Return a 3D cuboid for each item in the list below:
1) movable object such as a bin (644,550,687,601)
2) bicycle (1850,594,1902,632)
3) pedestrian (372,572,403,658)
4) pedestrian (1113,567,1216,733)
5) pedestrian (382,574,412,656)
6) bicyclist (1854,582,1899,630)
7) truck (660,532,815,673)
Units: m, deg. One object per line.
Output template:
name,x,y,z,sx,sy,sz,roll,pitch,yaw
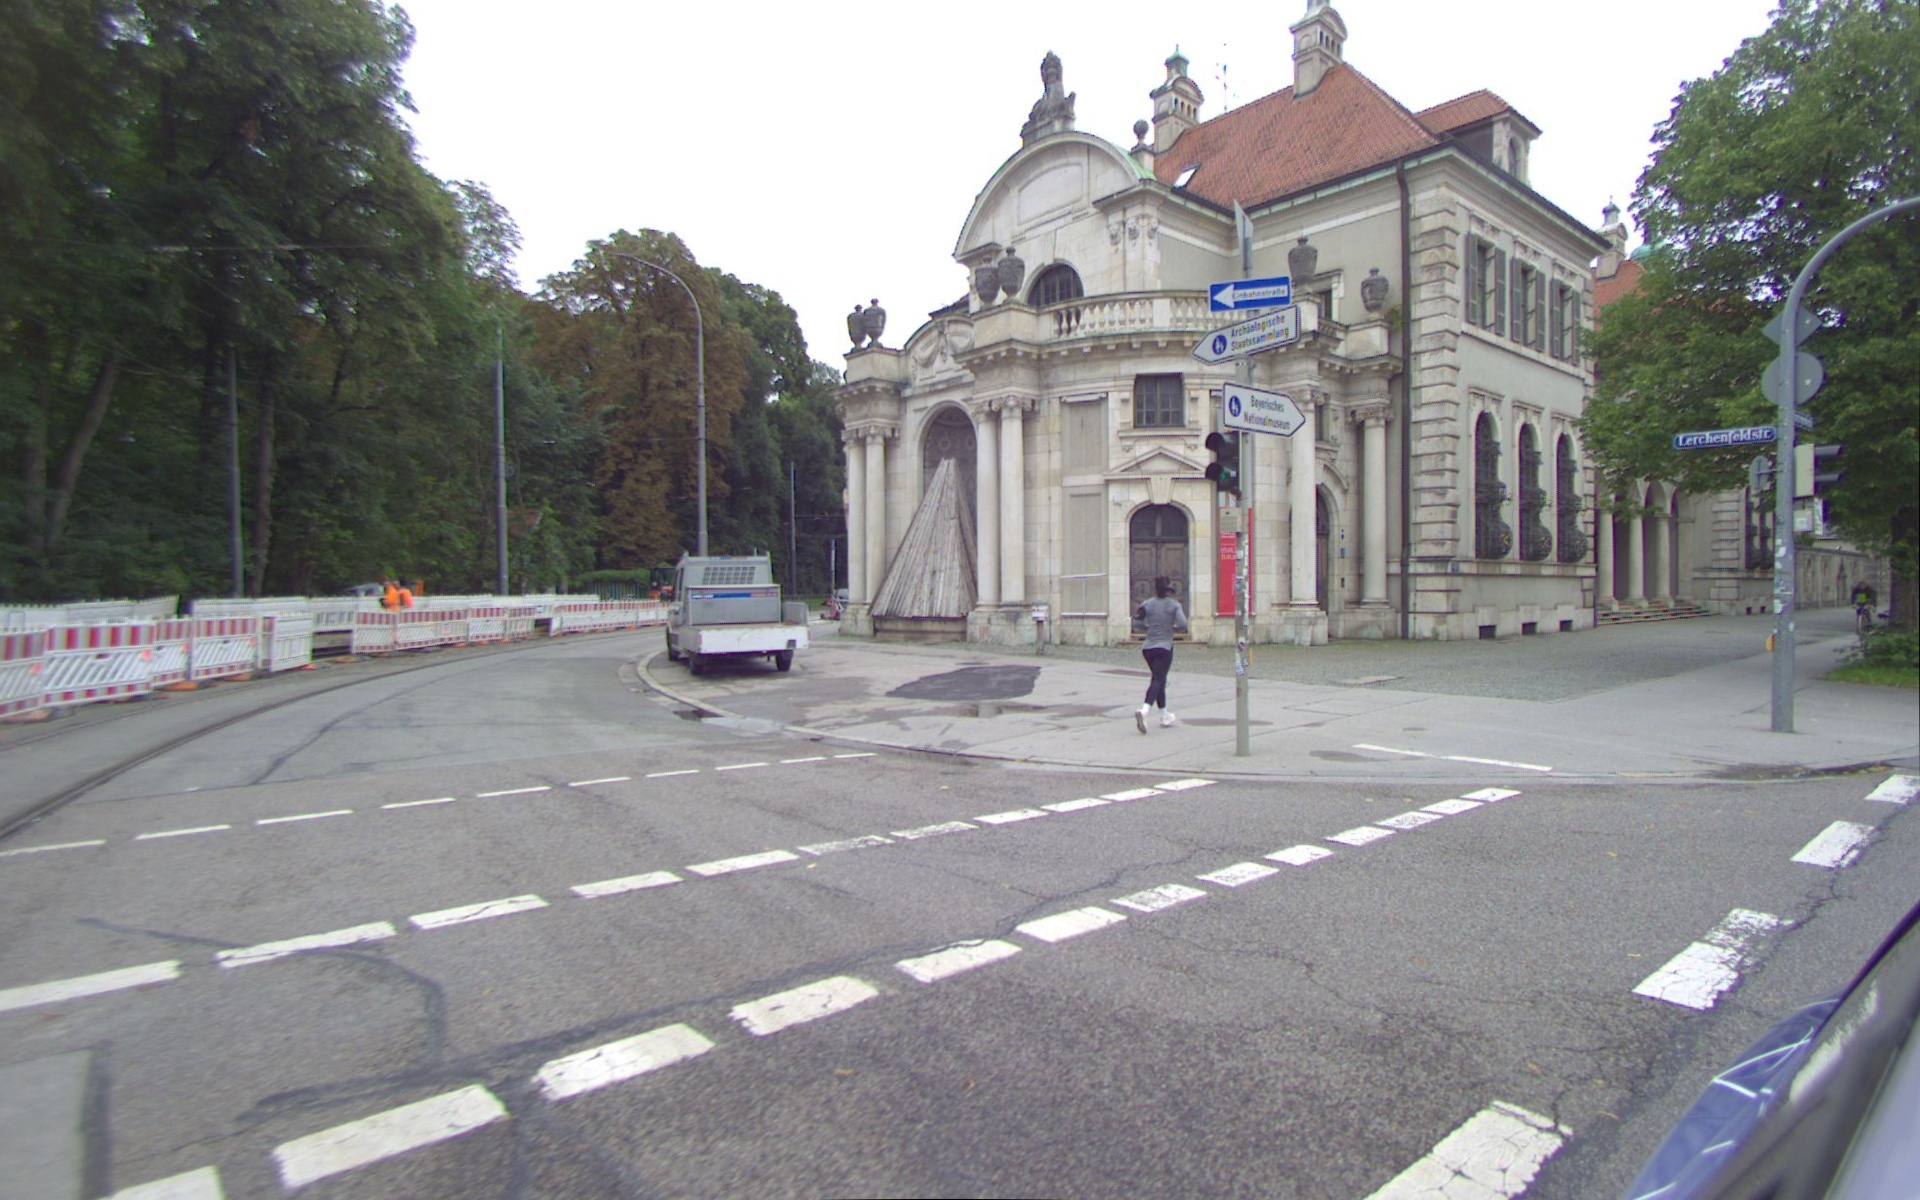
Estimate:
movable object such as a bin,-14.248,-1.130,49.161,1.294,2.342,3.777,-2,0,-6
bicycle,25.835,0.361,28.525,2.022,1.020,0.829,-2,-1,-41
pedestrian,-14.609,0.375,25.826,0.551,2.136,0.689,-1,-1,-21
pedestrian,2.310,0.555,11.436,1.051,1.787,0.771,-2,-1,13
pedestrian,-14.937,0.390,26.860,0.551,2.136,0.689,-1,-1,-19
bicyclist,25.963,0.176,28.675,0.878,1.330,0.807,-1,-1,-41
truck,-4.861,0.062,21.276,2.247,2.526,5.947,-2,0,-21
